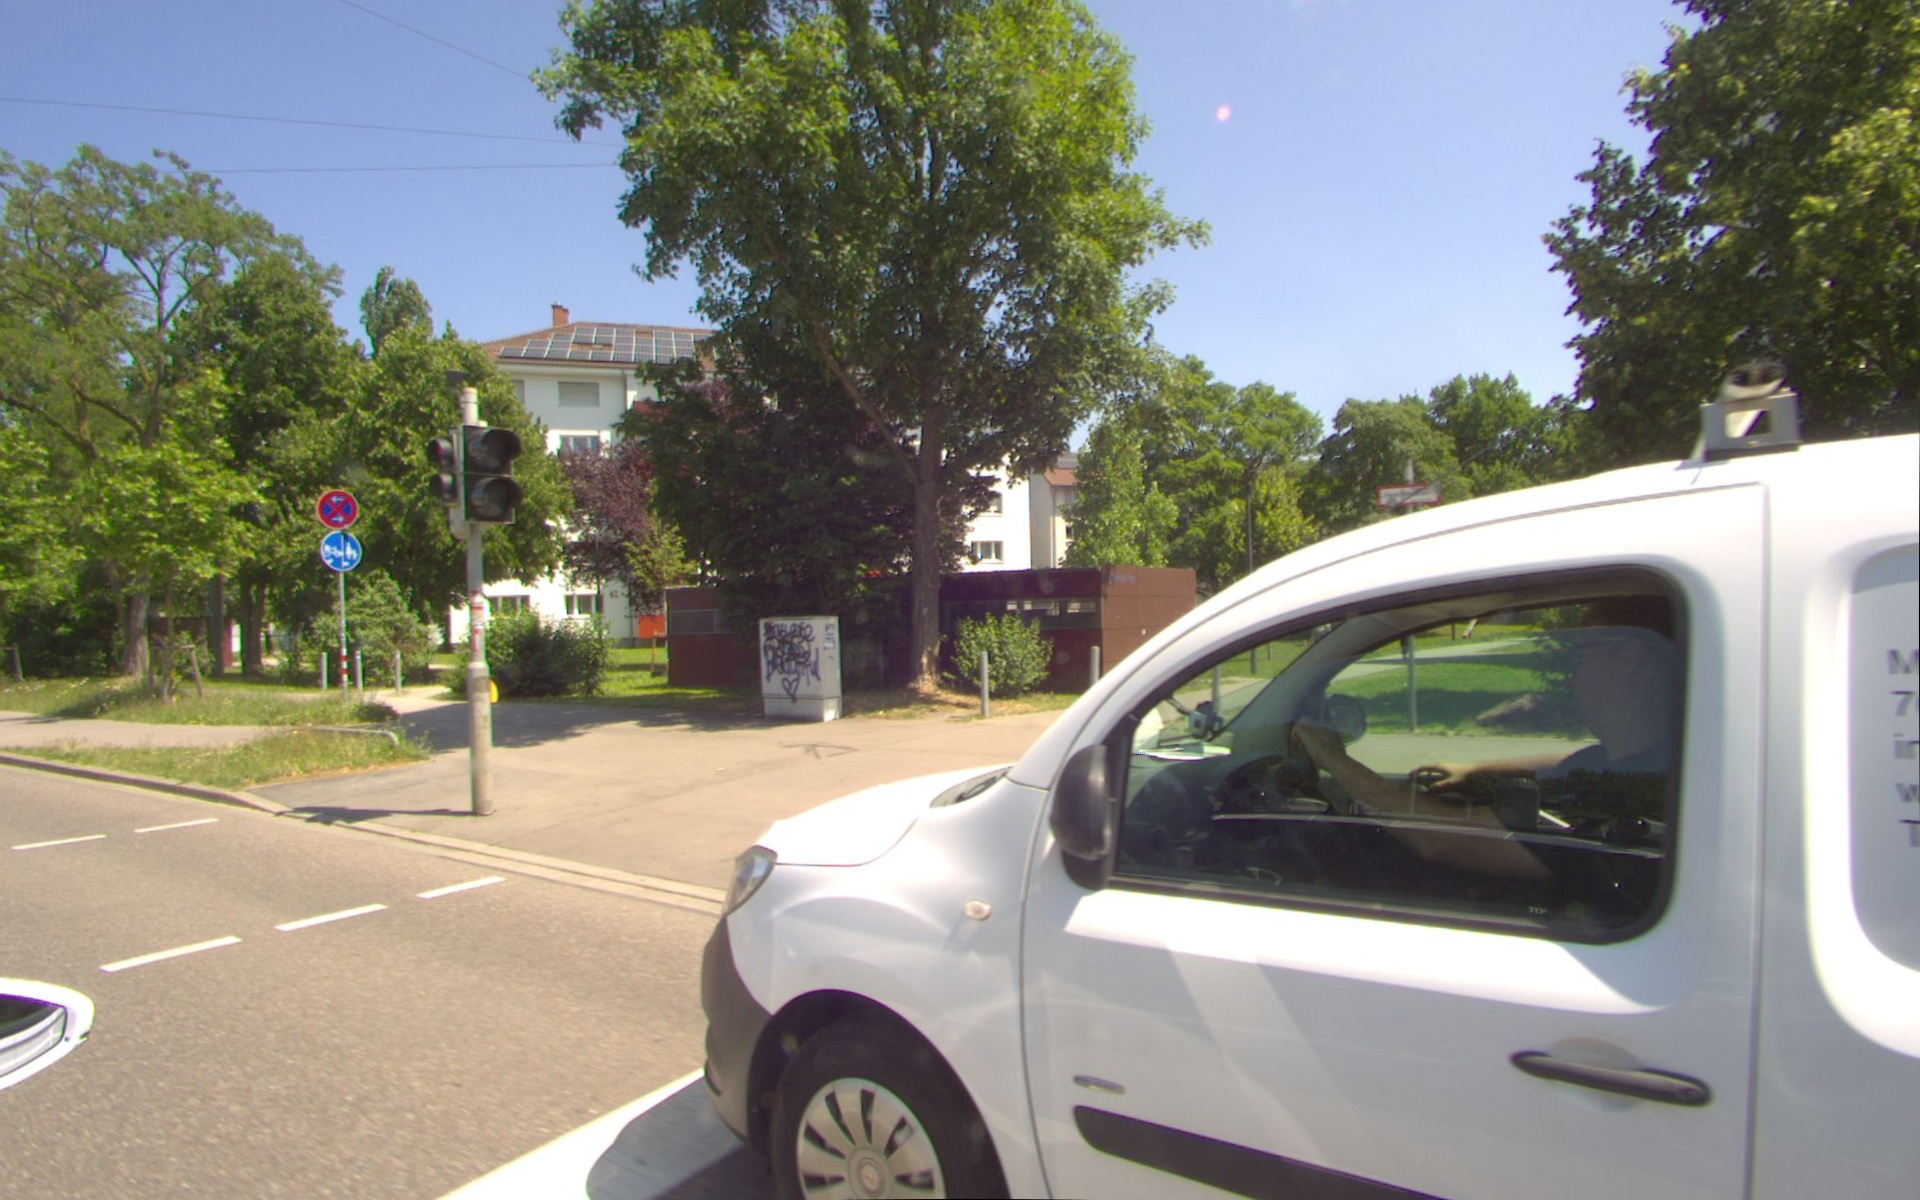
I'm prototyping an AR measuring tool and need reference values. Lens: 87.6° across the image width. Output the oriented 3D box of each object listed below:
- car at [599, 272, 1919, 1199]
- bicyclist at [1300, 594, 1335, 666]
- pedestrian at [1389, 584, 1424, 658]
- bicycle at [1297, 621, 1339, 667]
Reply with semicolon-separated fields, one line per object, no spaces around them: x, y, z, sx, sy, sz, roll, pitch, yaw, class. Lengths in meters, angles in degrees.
1.674;0.574;1.902;5.011;1.879;1.801;-2;-2;33;car
8.516;0.717;23.838;0.644;1.680;0.609;-1;-1;35;bicyclist
12.022;0.579;26.966;0.744;1.943;0.885;-1;-1;30;pedestrian
8.540;1.050;23.867;0.667;1.057;1.115;-1;-2;35;bicycle
